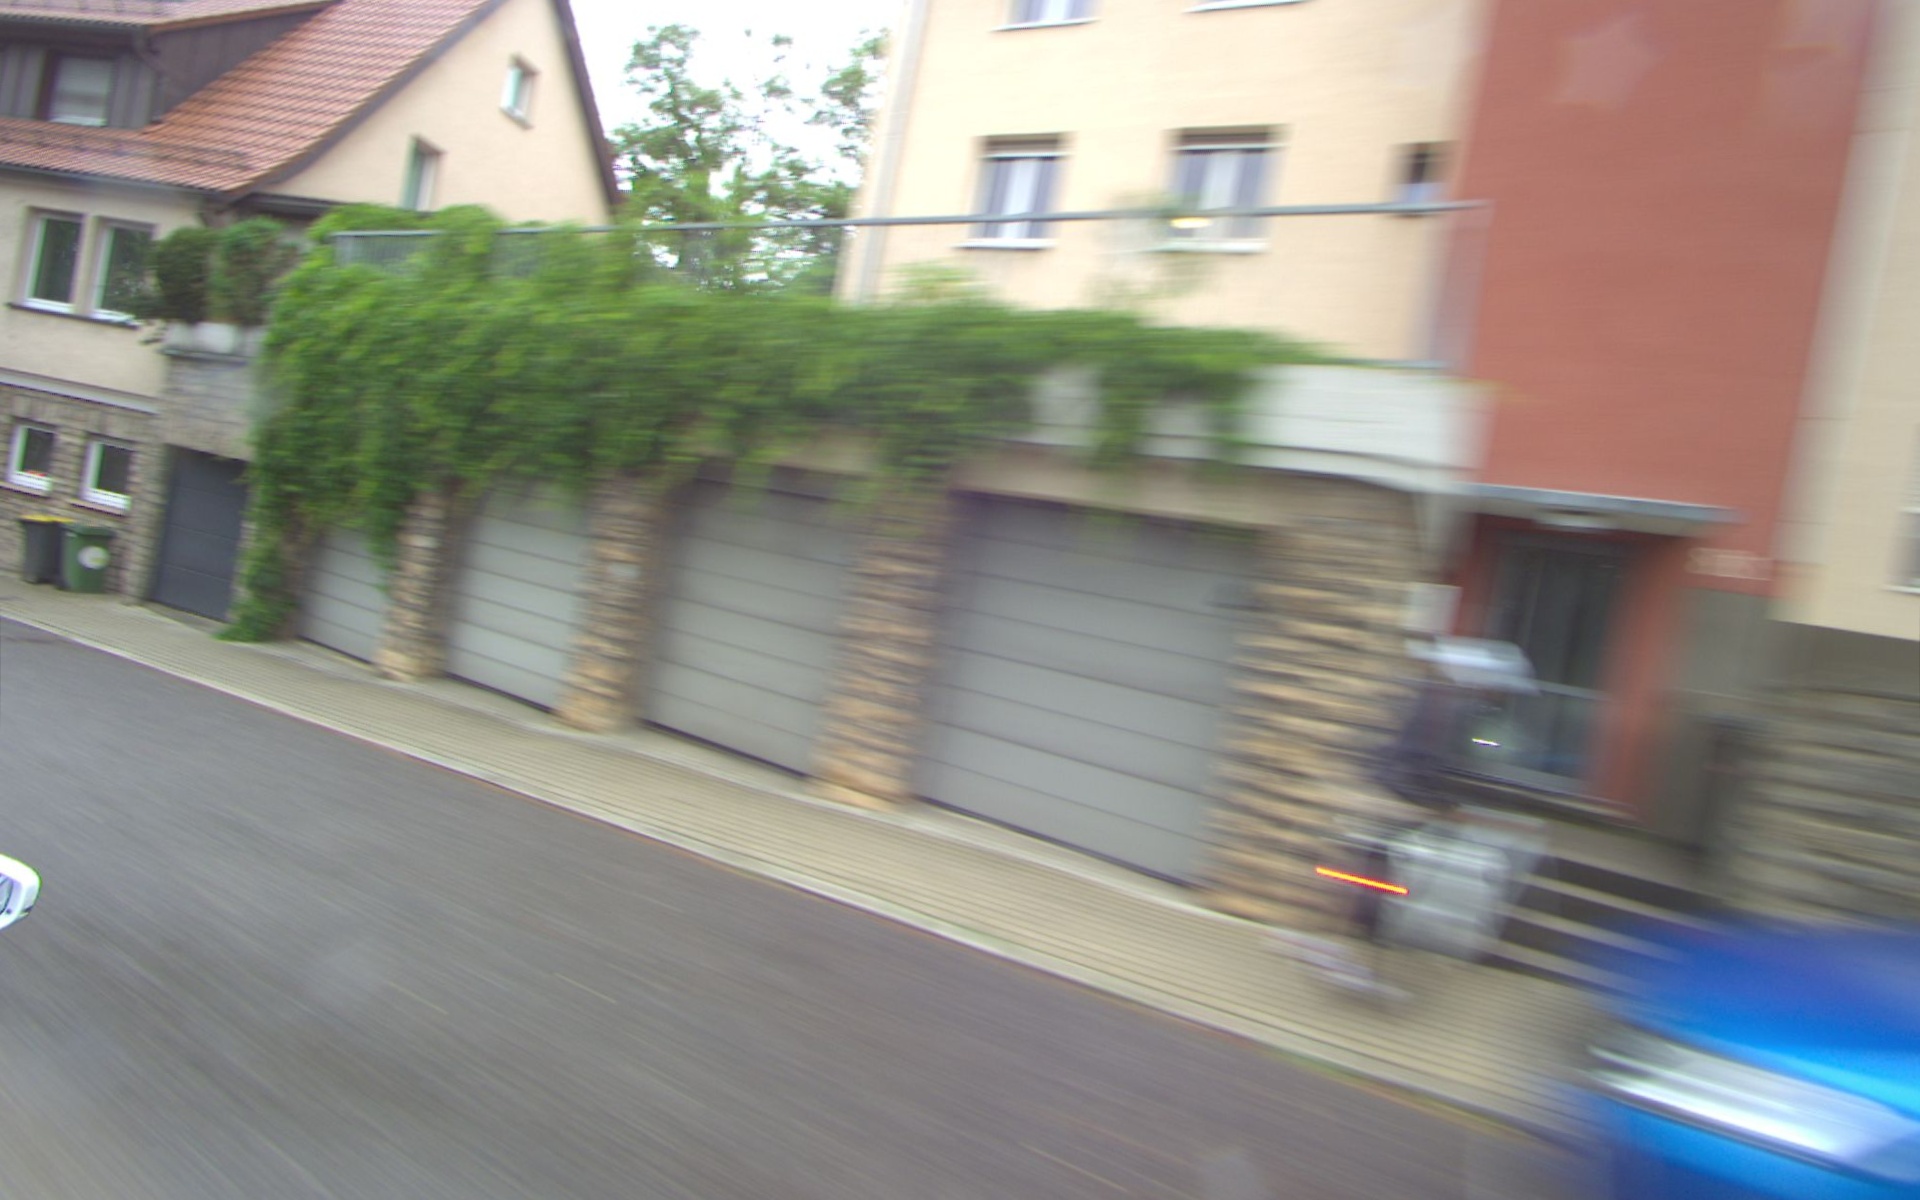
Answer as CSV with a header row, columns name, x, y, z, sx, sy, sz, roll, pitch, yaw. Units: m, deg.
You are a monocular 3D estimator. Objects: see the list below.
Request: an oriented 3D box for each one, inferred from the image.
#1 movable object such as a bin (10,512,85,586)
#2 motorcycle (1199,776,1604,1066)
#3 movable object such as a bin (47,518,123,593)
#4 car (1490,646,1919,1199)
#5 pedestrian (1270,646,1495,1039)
name,x,y,z,sx,sy,sz,roll,pitch,yaw
movable object such as a bin,-12.722,-0.704,14.033,0.498,0.936,0.588,9,4,25
motorcycle,1.781,1.294,4.178,1.355,0.866,0.537,8,-2,0
movable object such as a bin,-12.048,-0.605,13.852,0.505,0.936,0.596,9,4,25
car,3.304,1.209,1.632,4.182,1.612,1.737,8,-1,30
pedestrian,1.979,1.092,4.785,0.603,1.669,0.622,8,-1,0
